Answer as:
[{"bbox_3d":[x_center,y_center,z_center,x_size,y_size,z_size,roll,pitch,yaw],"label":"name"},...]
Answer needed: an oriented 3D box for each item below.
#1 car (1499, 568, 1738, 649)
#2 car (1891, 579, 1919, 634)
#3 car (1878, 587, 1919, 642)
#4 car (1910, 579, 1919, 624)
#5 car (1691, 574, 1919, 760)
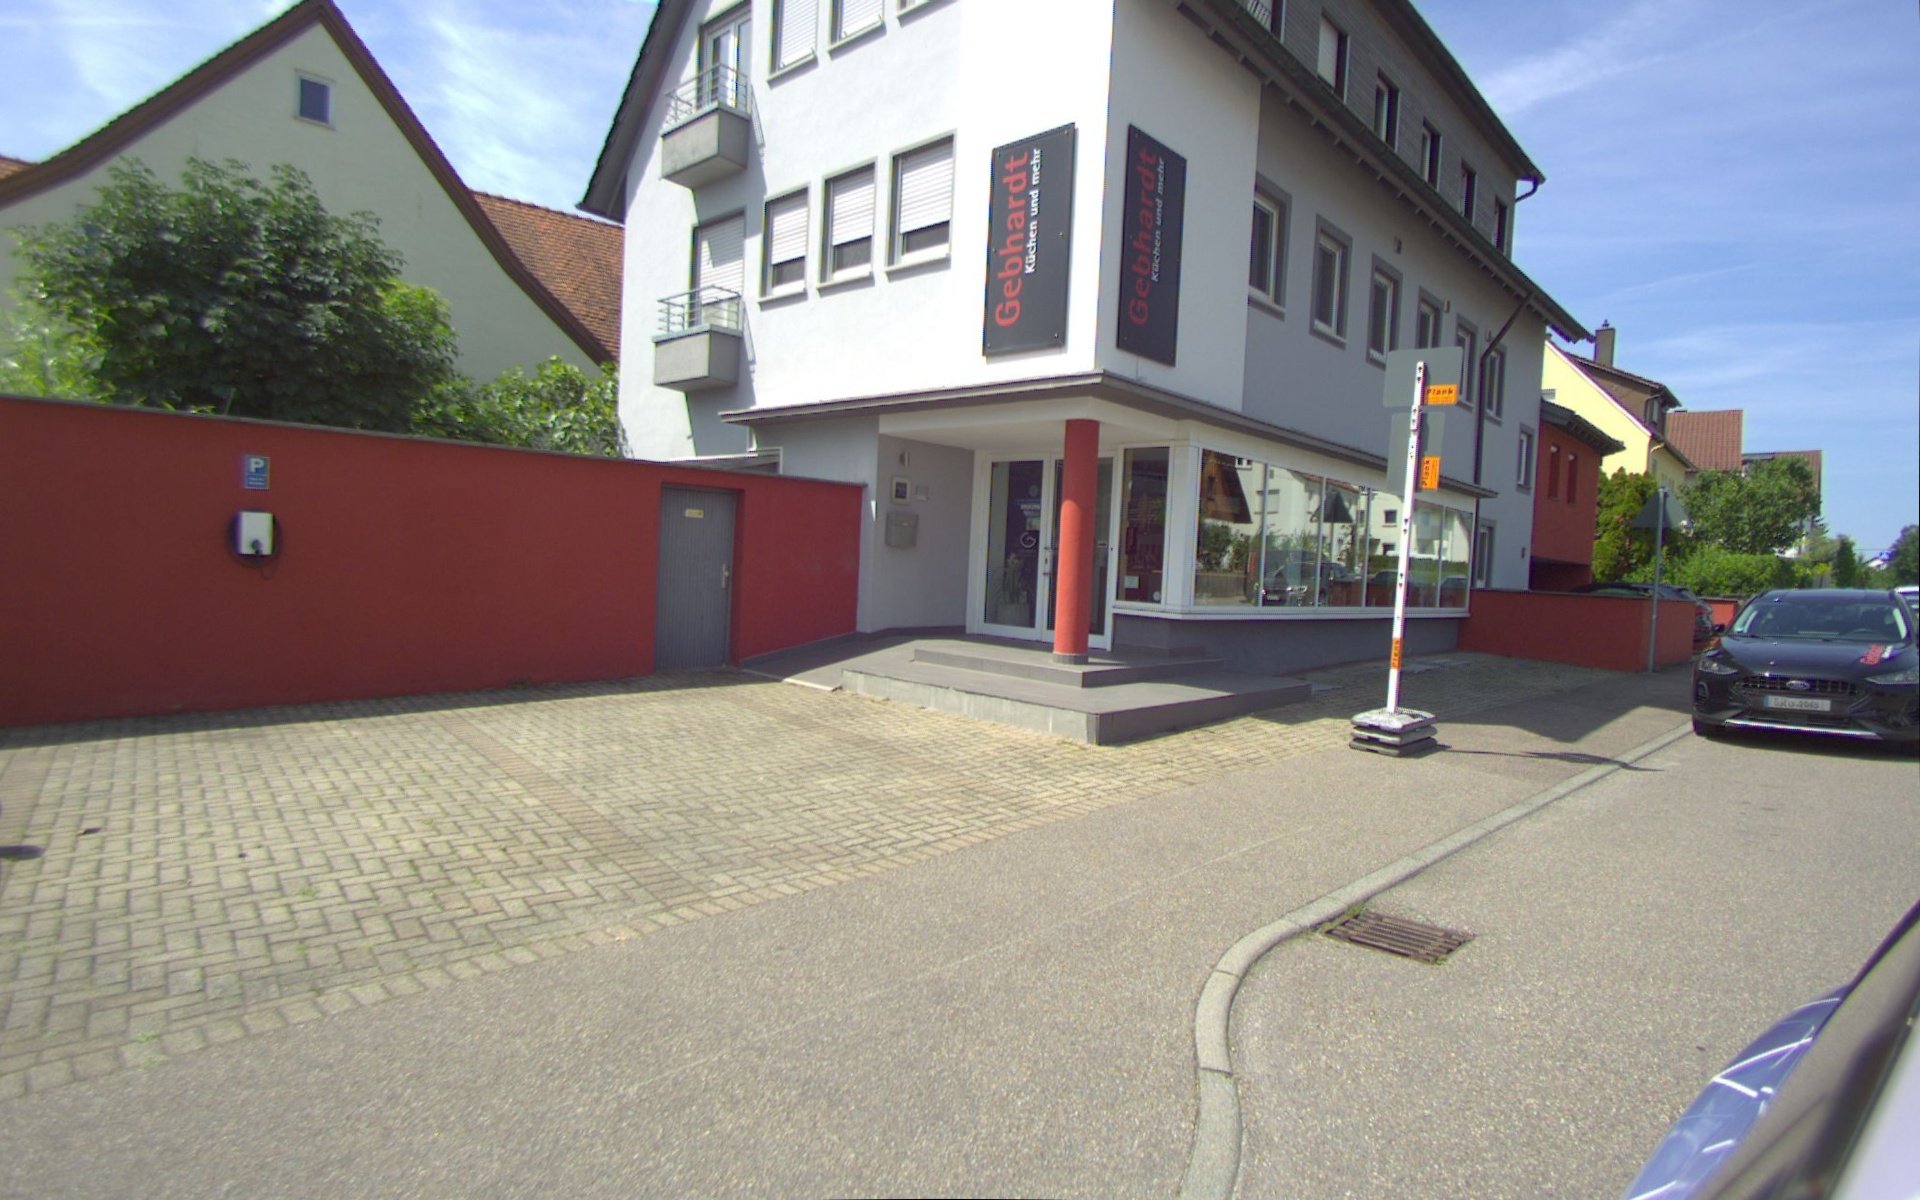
[{"bbox_3d":[15.327,0.249,23.703,4.366,1.690,1.847,-4,-2,44],"label":"car"},{"bbox_3d":[31.166,0.186,32.443,4.266,1.682,1.737,-1,2,-45],"label":"car"},{"bbox_3d":[26.703,0.365,28.004,1.752,1.438,4.350,2,2,45],"label":"car"},{"bbox_3d":[39.490,0.049,40.743,3.990,1.771,1.667,-1,2,-45],"label":"car"},{"bbox_3d":[9.150,0.539,10.569,4.334,1.546,1.763,-1,2,-45],"label":"car"}]
